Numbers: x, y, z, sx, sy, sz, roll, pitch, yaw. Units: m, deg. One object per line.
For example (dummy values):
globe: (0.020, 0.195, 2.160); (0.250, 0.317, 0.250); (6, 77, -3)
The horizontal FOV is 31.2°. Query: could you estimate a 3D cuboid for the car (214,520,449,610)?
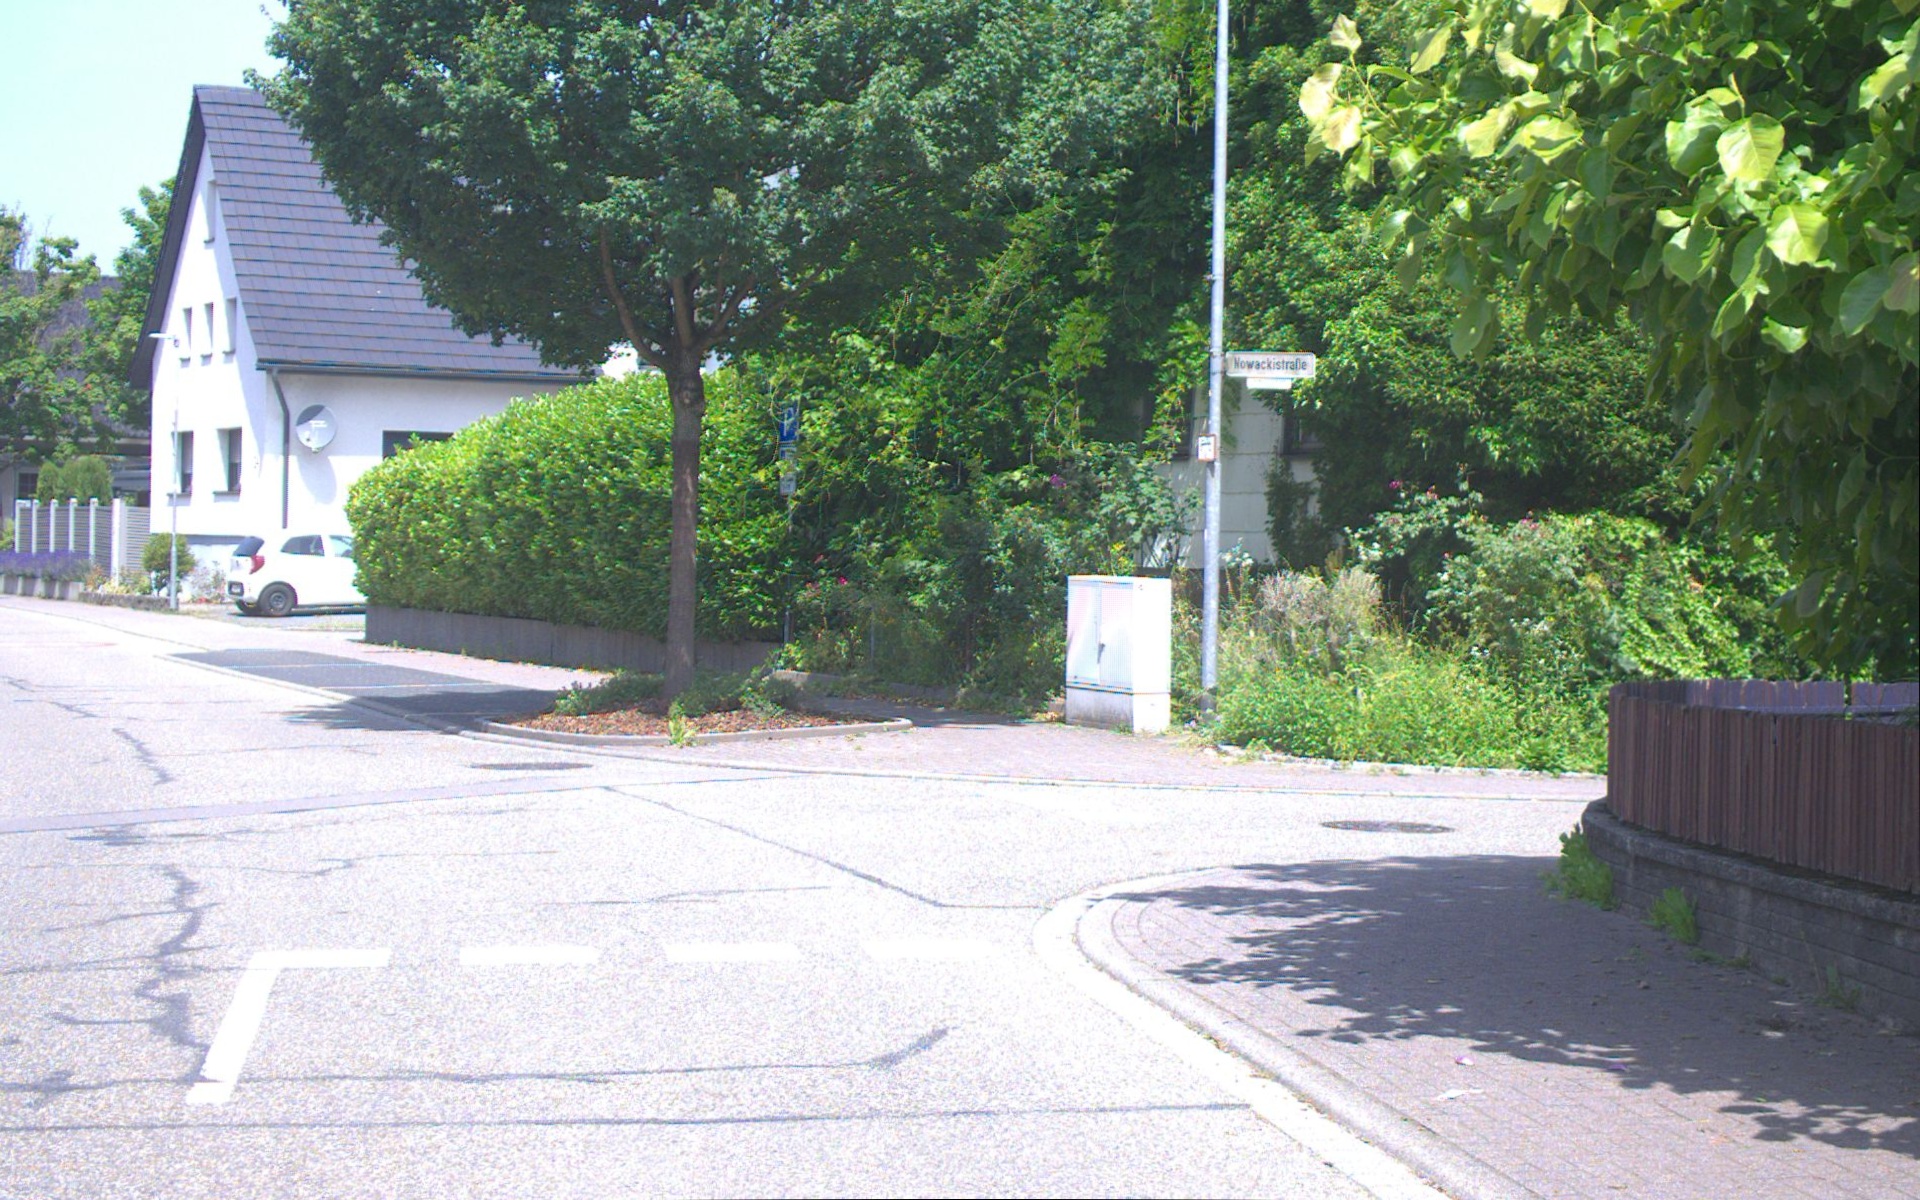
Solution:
car: (-10.964, -0.637, 59.988); (3.657, 1.469, 1.766); (-1, 3, -28)
